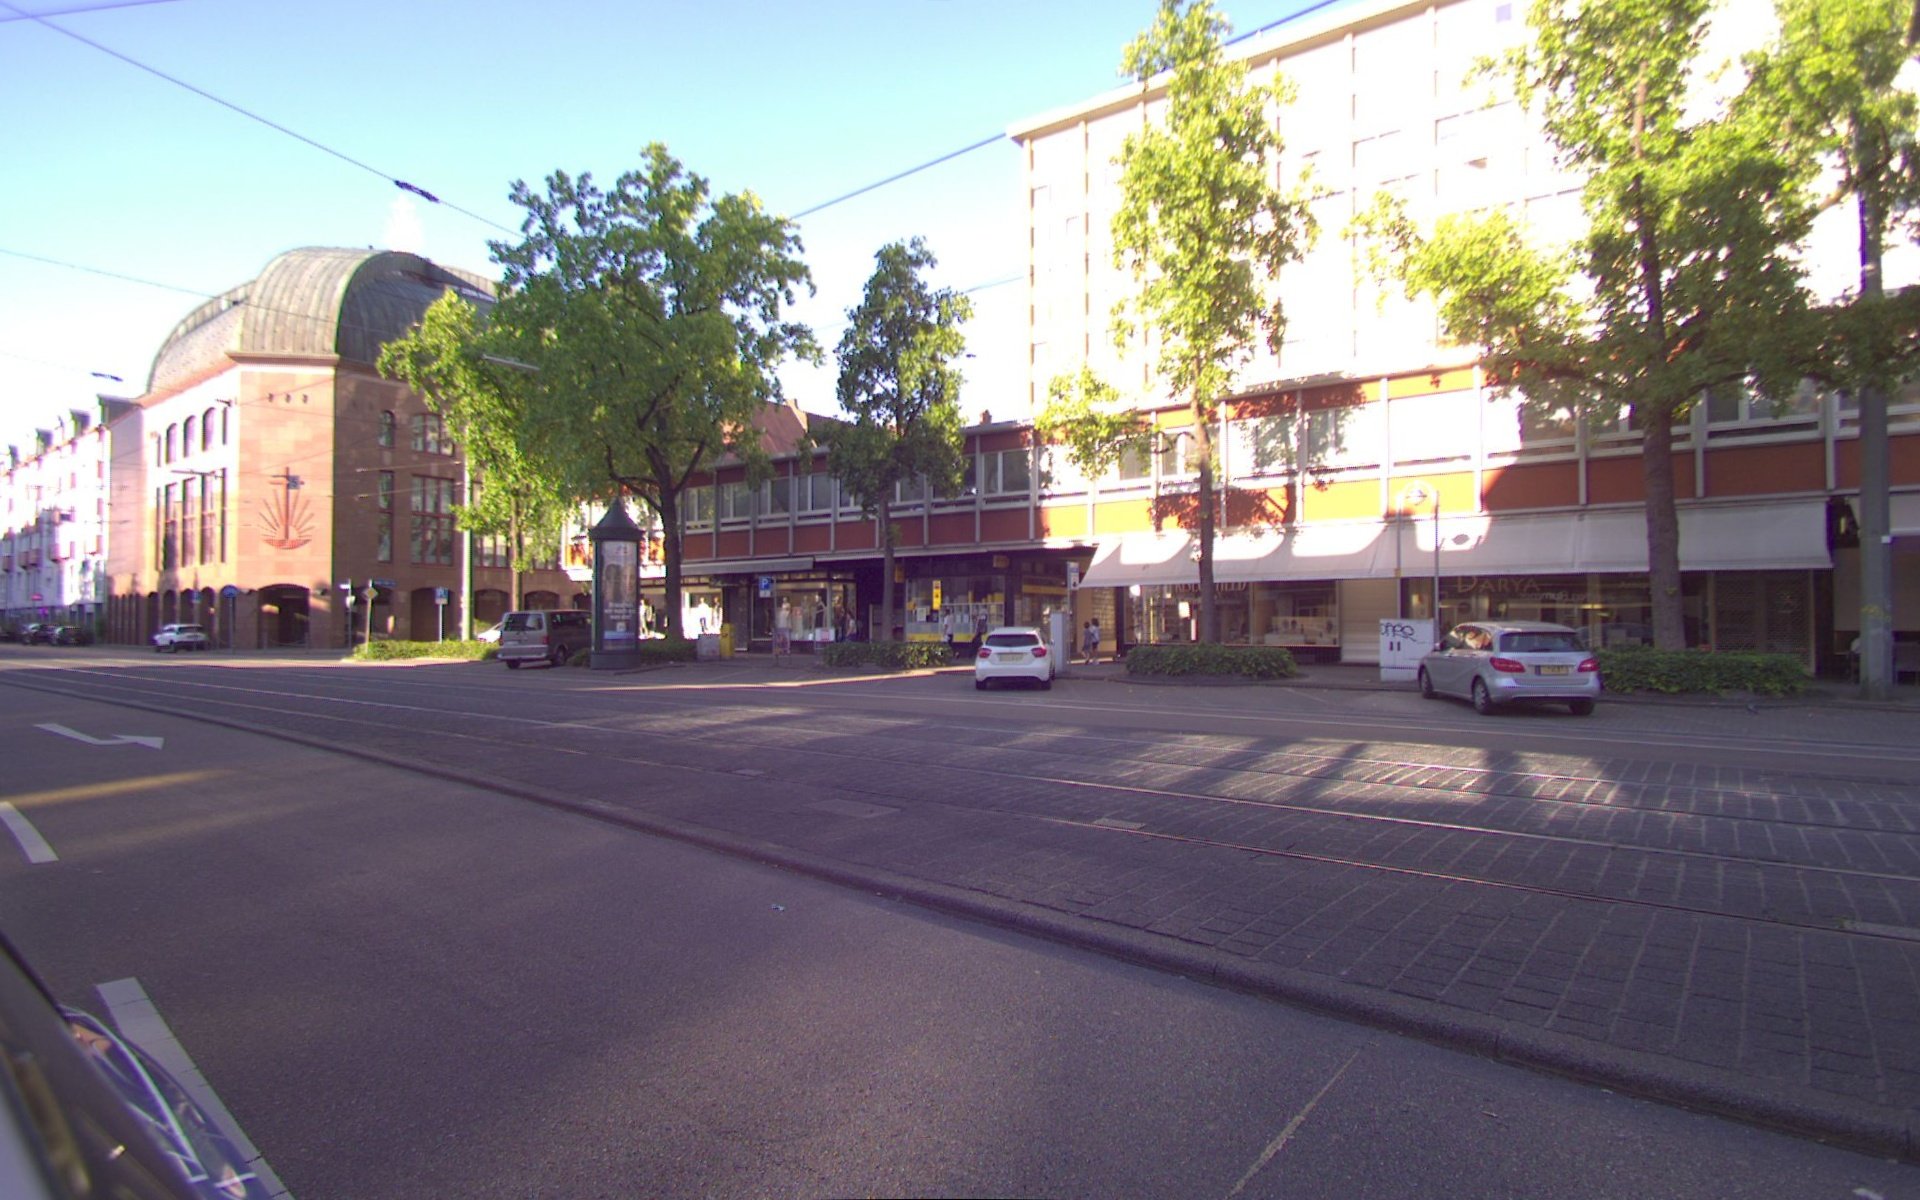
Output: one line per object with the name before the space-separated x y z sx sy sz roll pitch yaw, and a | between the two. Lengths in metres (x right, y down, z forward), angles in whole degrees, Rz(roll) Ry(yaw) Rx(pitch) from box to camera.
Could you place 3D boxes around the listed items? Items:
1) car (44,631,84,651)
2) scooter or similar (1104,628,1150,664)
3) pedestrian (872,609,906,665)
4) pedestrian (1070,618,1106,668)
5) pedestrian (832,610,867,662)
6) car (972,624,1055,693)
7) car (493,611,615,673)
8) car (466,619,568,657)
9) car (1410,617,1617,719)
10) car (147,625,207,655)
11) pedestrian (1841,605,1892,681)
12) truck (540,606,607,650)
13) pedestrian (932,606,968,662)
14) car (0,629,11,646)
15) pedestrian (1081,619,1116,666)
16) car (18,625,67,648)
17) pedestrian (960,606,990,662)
car | -65.773 2.969 74.262 3.679 1.411 1.626 -1 -1 39
scooter or similar | 5.254 1.452 31.886 1.335 1.102 0.470 -1 -1 36
pedestrian | -2.457 1.261 34.884 0.903 1.892 0.903 1 -2 -24
pedestrian | 3.980 1.332 31.486 0.898 1.509 0.681 -1 -2 36
pedestrian | -4.059 1.312 37.265 0.898 1.892 0.908 -1 -2 36
car | 1.394 1.378 24.936 1.745 1.440 4.261 -1 0 7
car | -14.168 1.411 35.663 1.831 1.943 5.112 0 0 6
car | -25.433 2.147 58.230 2.128 1.982 4.934 2 0 36
car | 9.830 1.122 18.387 1.805 1.578 4.271 0 0 7
car | -44.822 2.262 57.916 4.269 1.602 1.581 -1 0 36
pedestrian | 19.267 0.908 21.519 0.705 1.575 0.864 -2 -2 38
truck | -25.083 1.828 65.617 4.519 2.784 1.835 -1 -2 34
pedestrian | -0.351 1.206 36.210 0.898 1.963 0.984 -1 -2 36
car | -86.247 3.360 90.225 4.555 1.520 1.807 -1 -1 38
pedestrian | 4.384 1.344 32.072 0.898 1.481 0.681 -1 -2 36
car | -71.228 2.839 78.550 4.552 1.713 1.941 -1 -1 37
pedestrian | 0.520 1.173 34.916 0.890 1.892 0.916 0 -2 9
